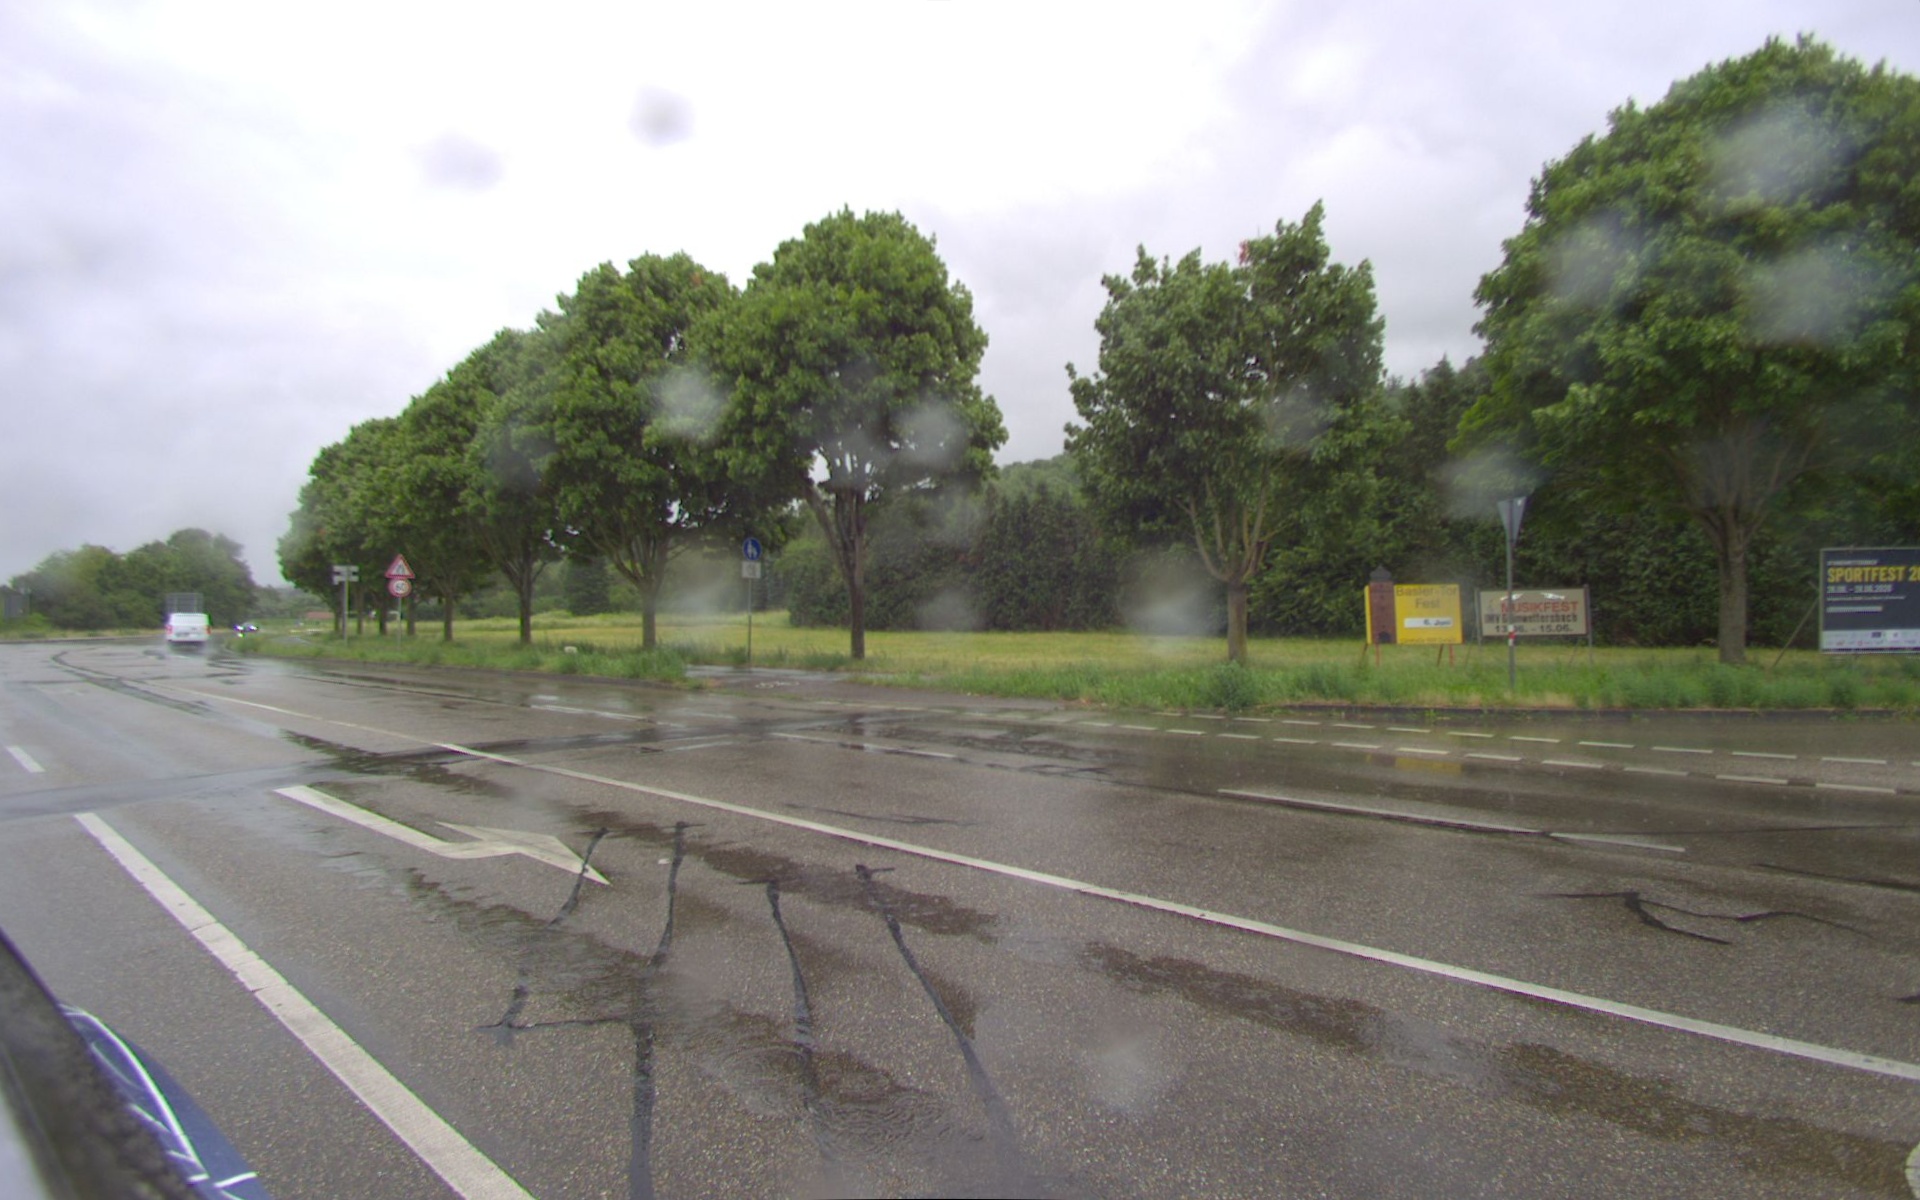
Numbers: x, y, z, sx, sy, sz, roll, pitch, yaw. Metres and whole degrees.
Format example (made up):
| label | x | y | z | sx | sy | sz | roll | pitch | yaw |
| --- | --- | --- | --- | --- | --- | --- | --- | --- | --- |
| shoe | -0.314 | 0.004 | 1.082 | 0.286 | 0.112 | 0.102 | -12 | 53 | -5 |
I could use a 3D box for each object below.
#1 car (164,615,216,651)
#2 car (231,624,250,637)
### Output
| label | x | y | z | sx | sy | sz | roll | pitch | yaw |
| --- | --- | --- | --- | --- | --- | --- | --- | --- | --- |
| car | -43.421 | 1.827 | 57.153 | 2.078 | 1.907 | 4.803 | 0 | -1 | -34 |
| car | -93.411 | 3.936 | 131.313 | 1.886 | 1.597 | 4.112 | 0 | -1 | -37 |
